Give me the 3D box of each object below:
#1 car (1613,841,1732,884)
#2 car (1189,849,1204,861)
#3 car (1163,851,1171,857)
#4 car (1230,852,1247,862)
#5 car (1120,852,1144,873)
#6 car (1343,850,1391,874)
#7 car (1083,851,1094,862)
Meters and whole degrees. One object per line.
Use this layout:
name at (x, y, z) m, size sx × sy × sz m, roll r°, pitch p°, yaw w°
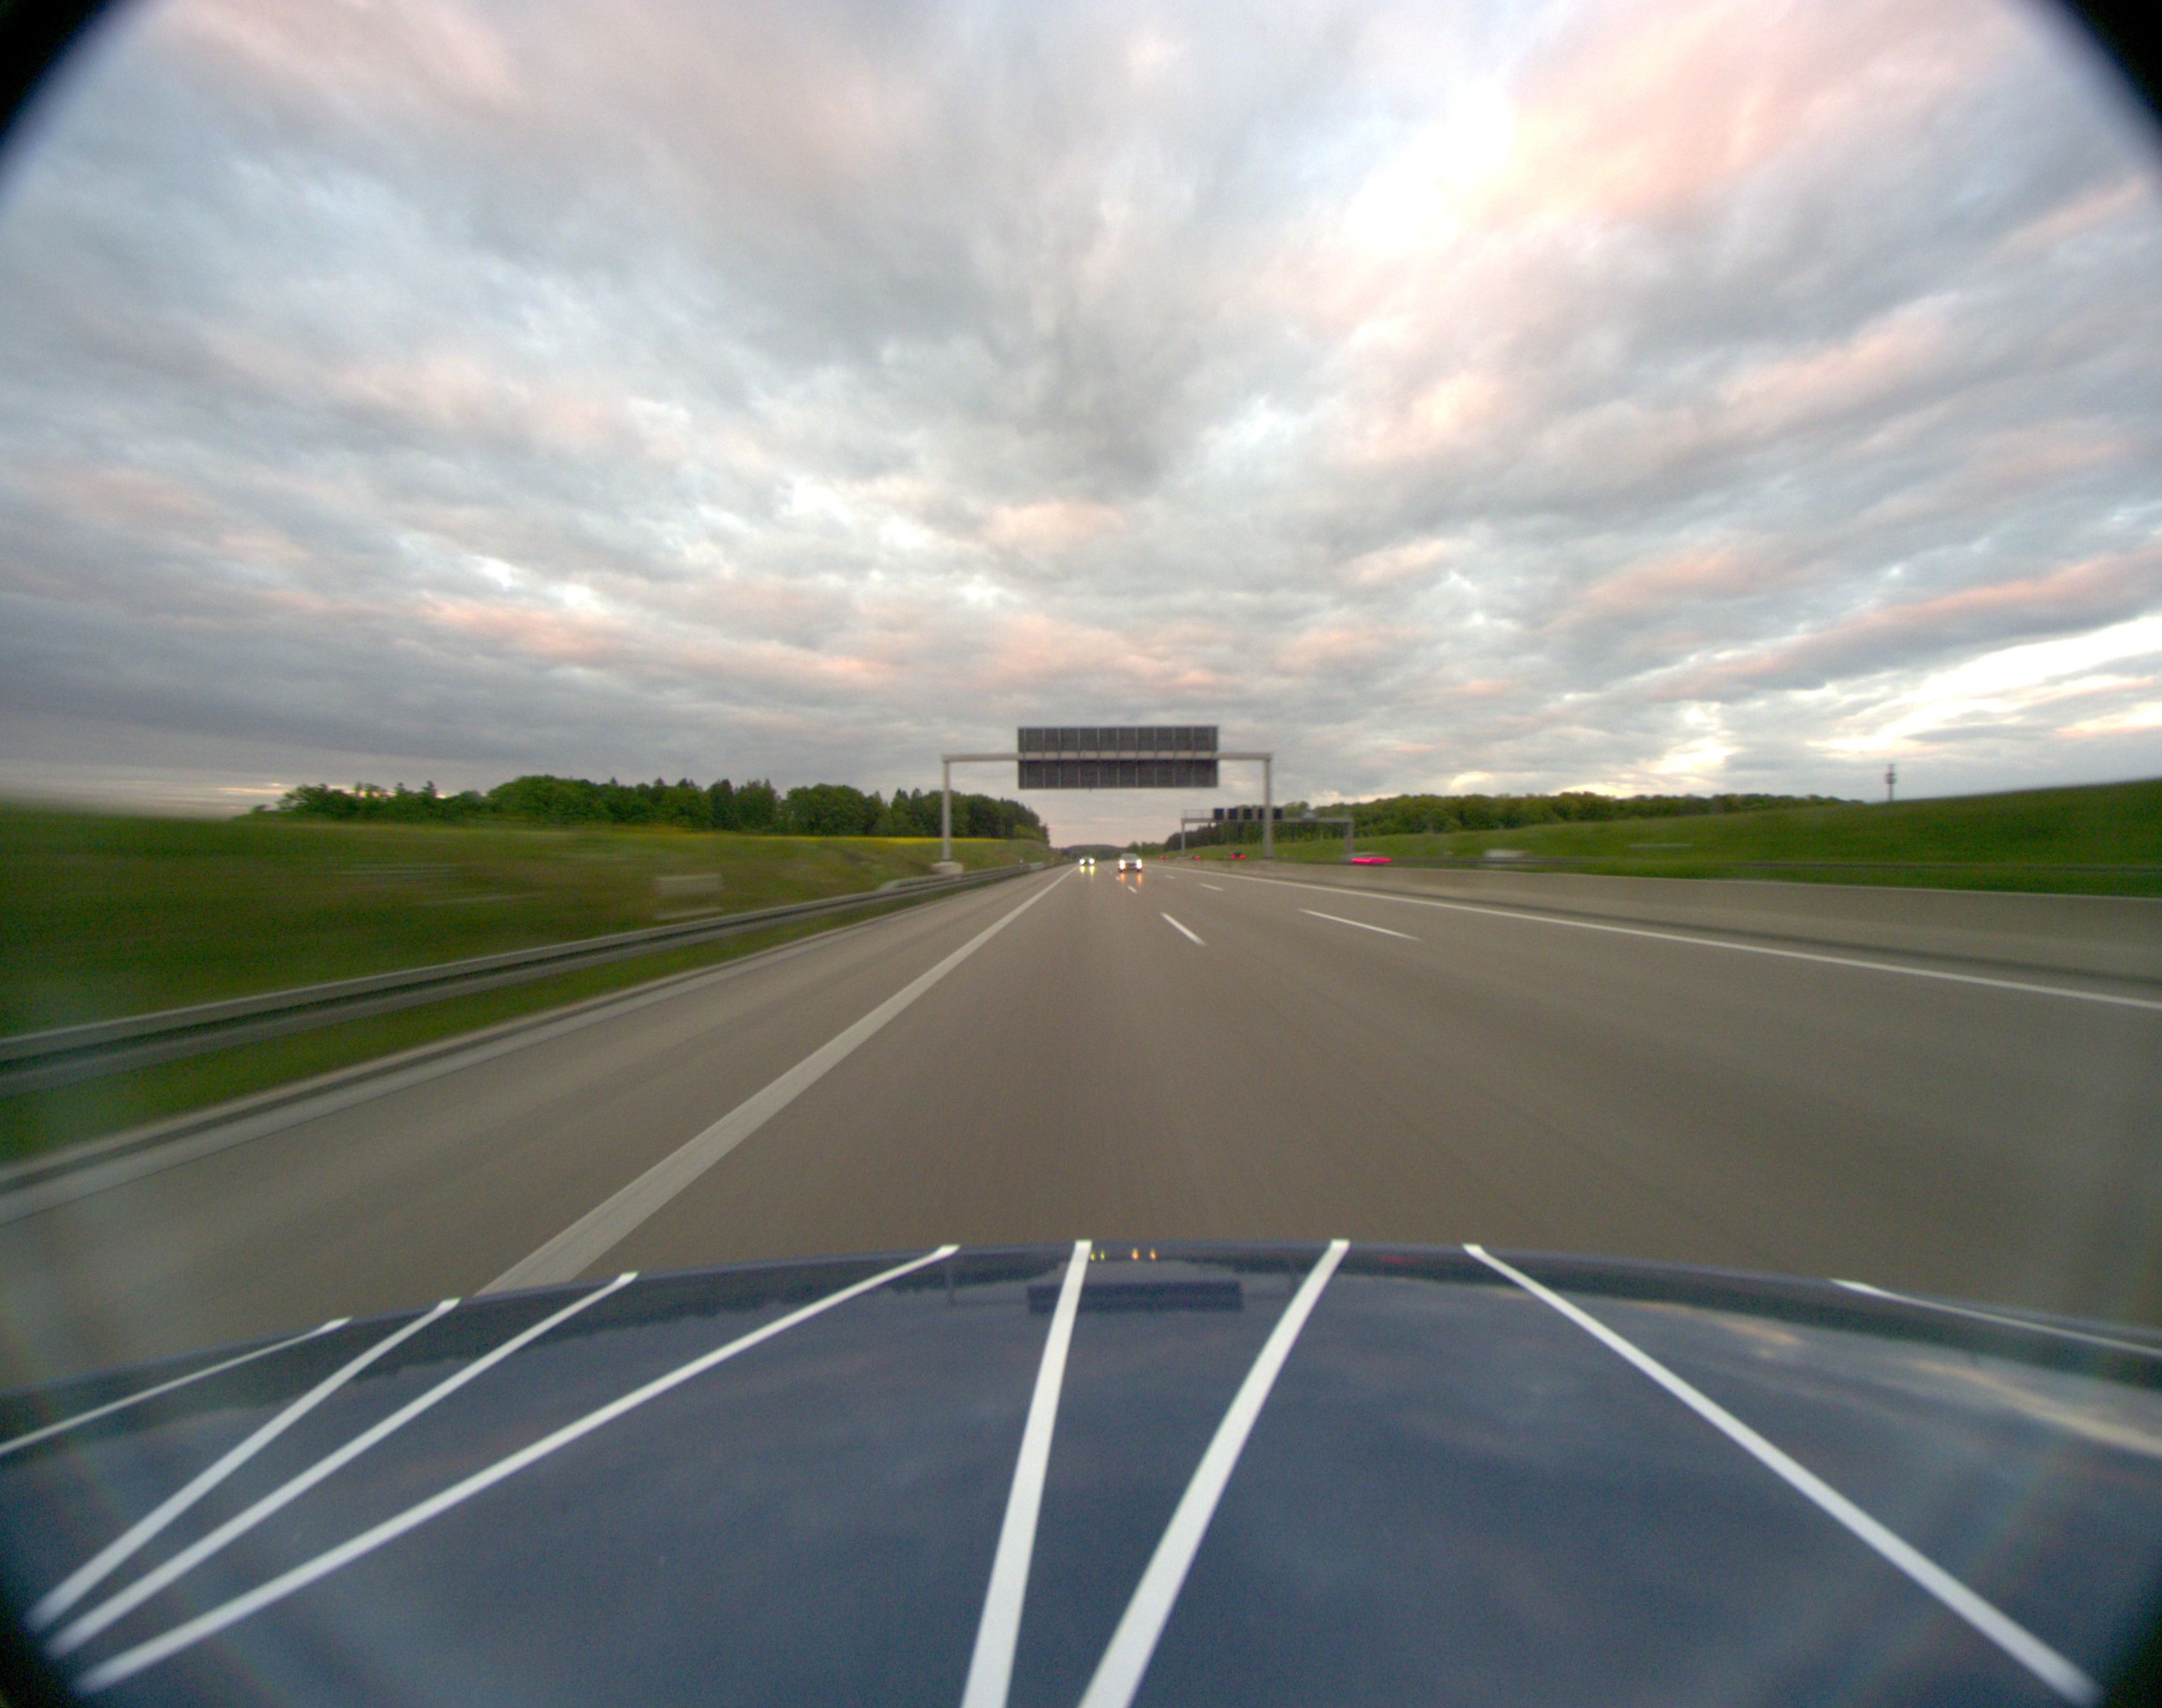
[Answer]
car at (23.475, 0.295, 30.349) m, size 1.606 × 1.548 × 4.000 m, roll -2°, pitch 0°, yaw 1°
car at (21.337, 0.147, 140.790) m, size 1.998 × 2.002 × 4.903 m, roll -2°, pitch 0°, yaw 1°
car at (27.066, 0.145, 239.524) m, size 1.998 × 1.817 × 5.088 m, roll -1°, pitch 0°, yaw 0°
car at (25.316, 0.439, 122.157) m, size 1.818 × 1.450 × 4.000 m, roll -2°, pitch 0°, yaw 1°
car at (4.525, 0.755, 68.446) m, size 1.857 × 1.683 × 5.511 m, roll -1°, pitch 1°, yaw 1°
car at (19.920, 0.539, 53.063) m, size 1.758 × 1.543 × 4.360 m, roll -2°, pitch 0°, yaw 1°
car at (1.258, 0.386, 122.945) m, size 1.801 × 1.674 × 4.384 m, roll -1°, pitch 1°, yaw 1°
